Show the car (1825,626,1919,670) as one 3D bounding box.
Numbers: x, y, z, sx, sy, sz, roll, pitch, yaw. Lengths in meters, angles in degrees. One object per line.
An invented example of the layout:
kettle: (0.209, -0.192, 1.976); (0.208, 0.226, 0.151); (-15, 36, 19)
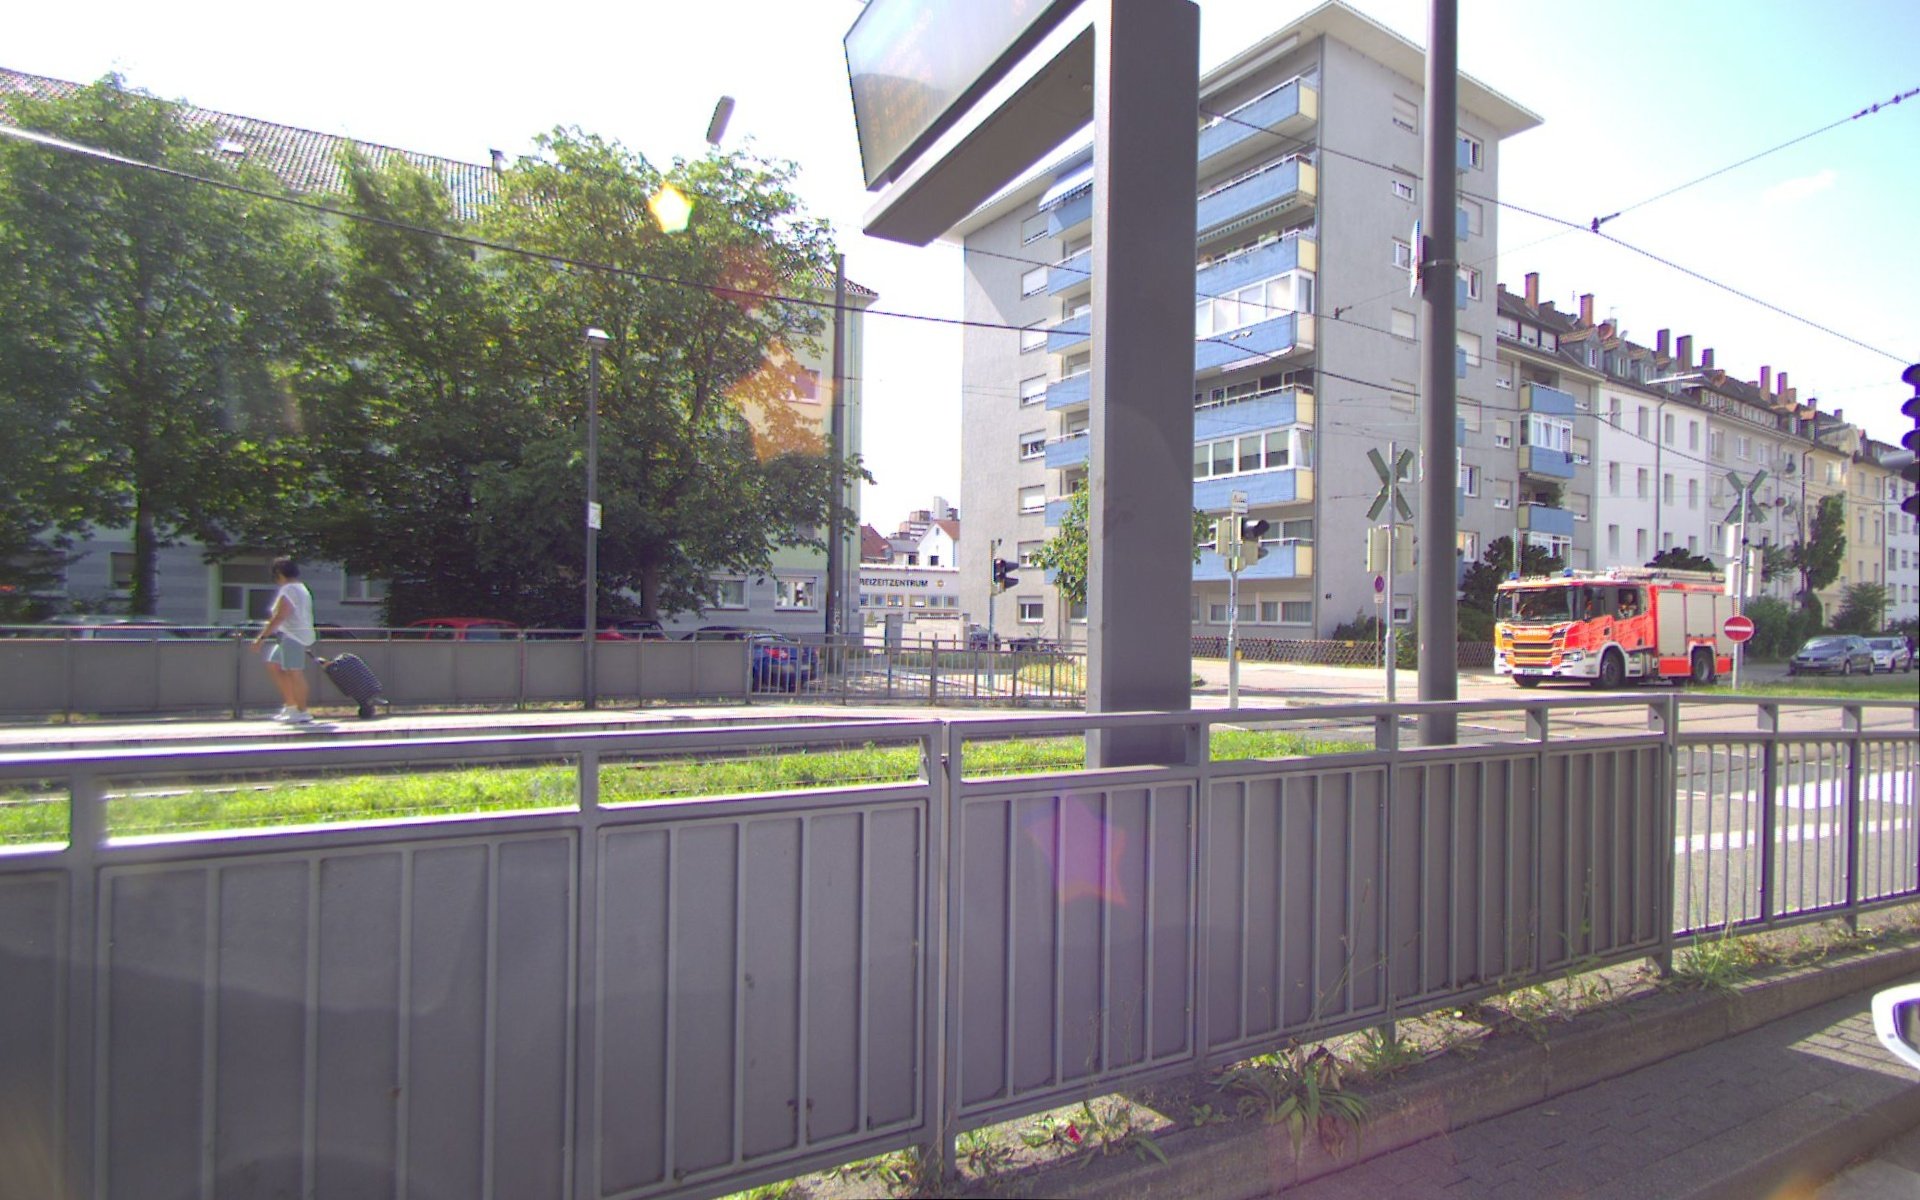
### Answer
car: (39.259, 2.062, 43.223); (3.956, 1.734, 1.982); (2, 0, -32)

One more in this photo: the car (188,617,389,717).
car: (-12.060, 1.118, 18.003); (3.603, 1.600, 1.645); (0, -1, 32)

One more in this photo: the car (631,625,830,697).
car: (-4.988, 1.273, 21.812); (4.055, 1.413, 1.608); (0, -1, 24)

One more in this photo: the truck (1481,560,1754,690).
truck: (18.398, 0.736, 27.929); (8.276, 3.228, 2.586); (2, 0, -28)

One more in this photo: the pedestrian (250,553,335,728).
pedestrian: (-6.725, 0.400, 10.154); (0.624, 1.686, 0.657); (1, -1, -29)

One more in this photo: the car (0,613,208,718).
car: (-14.206, 0.997, 16.559); (3.959, 1.534, 1.605); (0, -1, 33)

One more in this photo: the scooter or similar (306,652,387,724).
scooter or similar: (-6.455, 0.916, 10.591); (0.692, 0.708, 0.440); (1, -1, -29)

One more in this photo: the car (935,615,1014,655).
car: (0.648, 1.631, 47.548); (1.976, 1.706, 3.968); (2, 0, -30)

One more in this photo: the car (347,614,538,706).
car: (-9.984, 1.084, 19.326); (3.603, 1.600, 1.645); (0, -1, 32)

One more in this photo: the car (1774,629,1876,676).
car: (34.273, 2.061, 39.788); (3.956, 1.667, 1.982); (2, 0, -32)

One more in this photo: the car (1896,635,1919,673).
car: (47.368, 2.647, 48.779); (3.960, 1.734, 1.981); (2, 0, -35)
